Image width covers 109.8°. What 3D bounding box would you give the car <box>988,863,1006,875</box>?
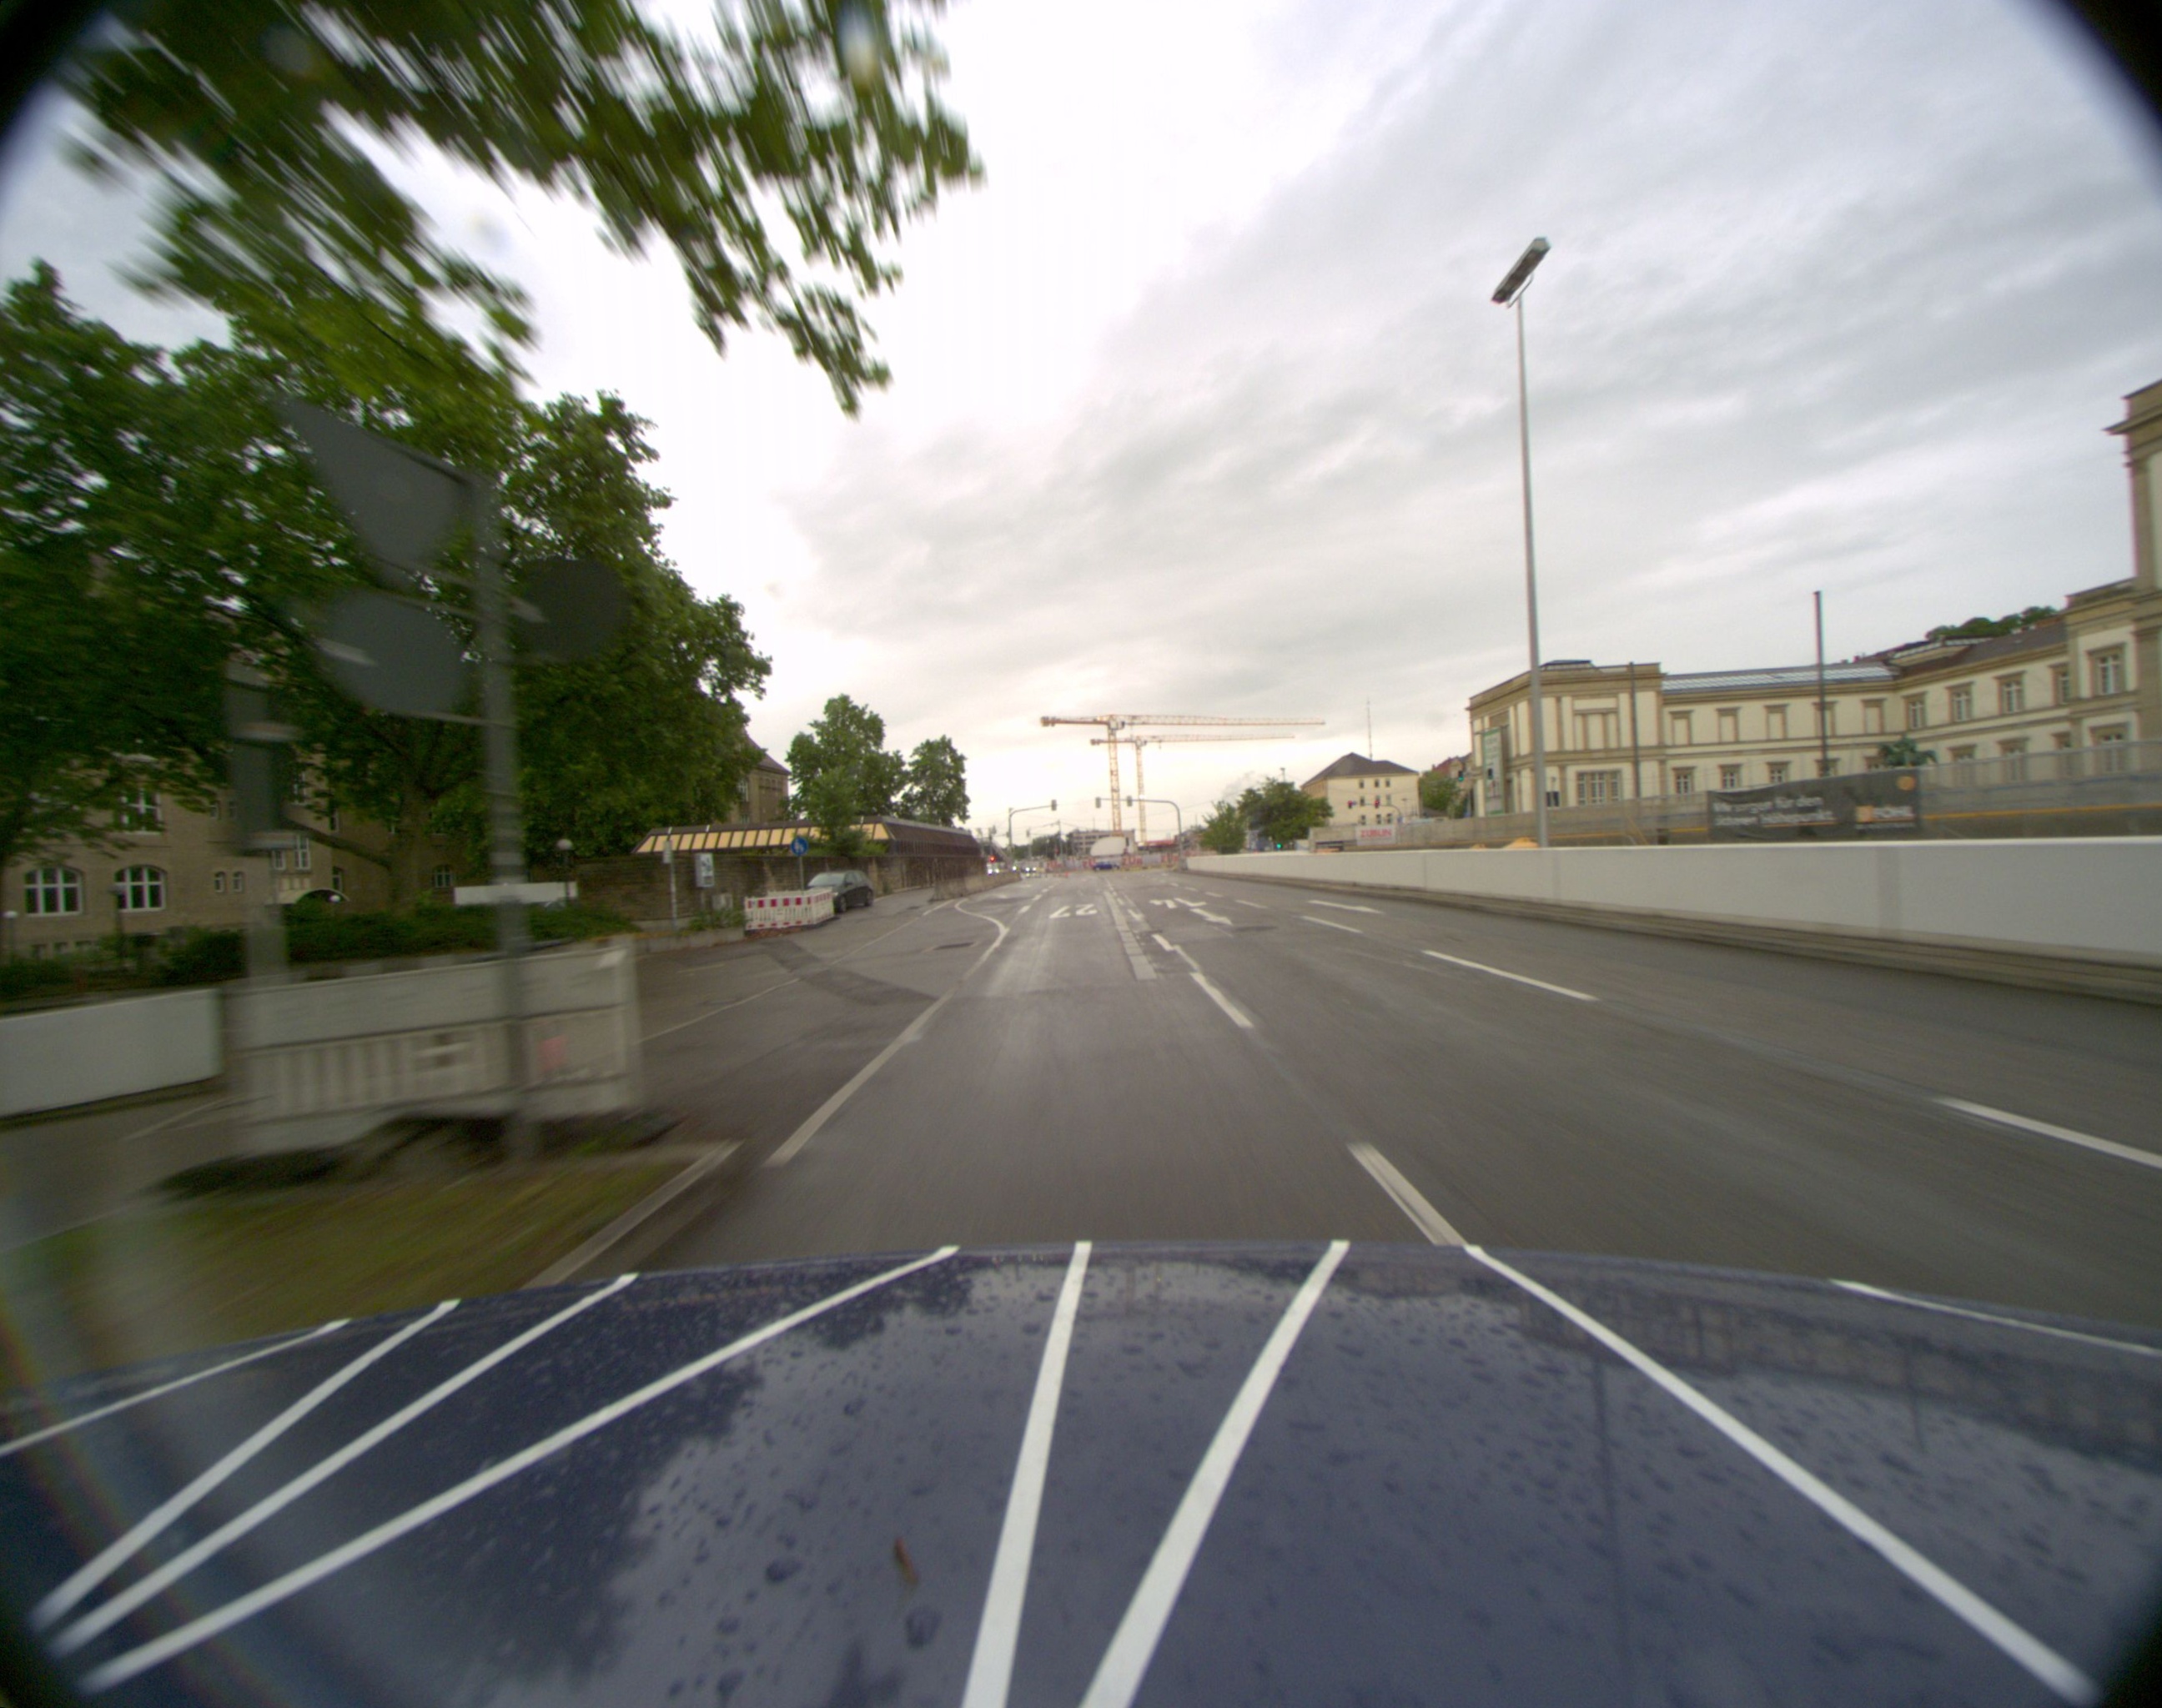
[{"bbox_3d":[-15.272,2.751,137.937,2.001,2.002,4.417,-5,0,-20],"label":"car"}]

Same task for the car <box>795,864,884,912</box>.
[{"bbox_3d":[-9.542,1.297,30.402,1.808,1.543,4.326,1,2,6],"label":"car"}]

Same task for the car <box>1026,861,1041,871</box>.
[{"bbox_3d":[-8.800,2.245,139.639,1.862,1.556,3.797,-5,0,-16],"label":"car"}]

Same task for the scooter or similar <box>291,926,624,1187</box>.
[{"bbox_3d":[-3.697,1.182,4.581,1.358,1.278,0.619,-7,2,4],"label":"scooter or similar"}]
